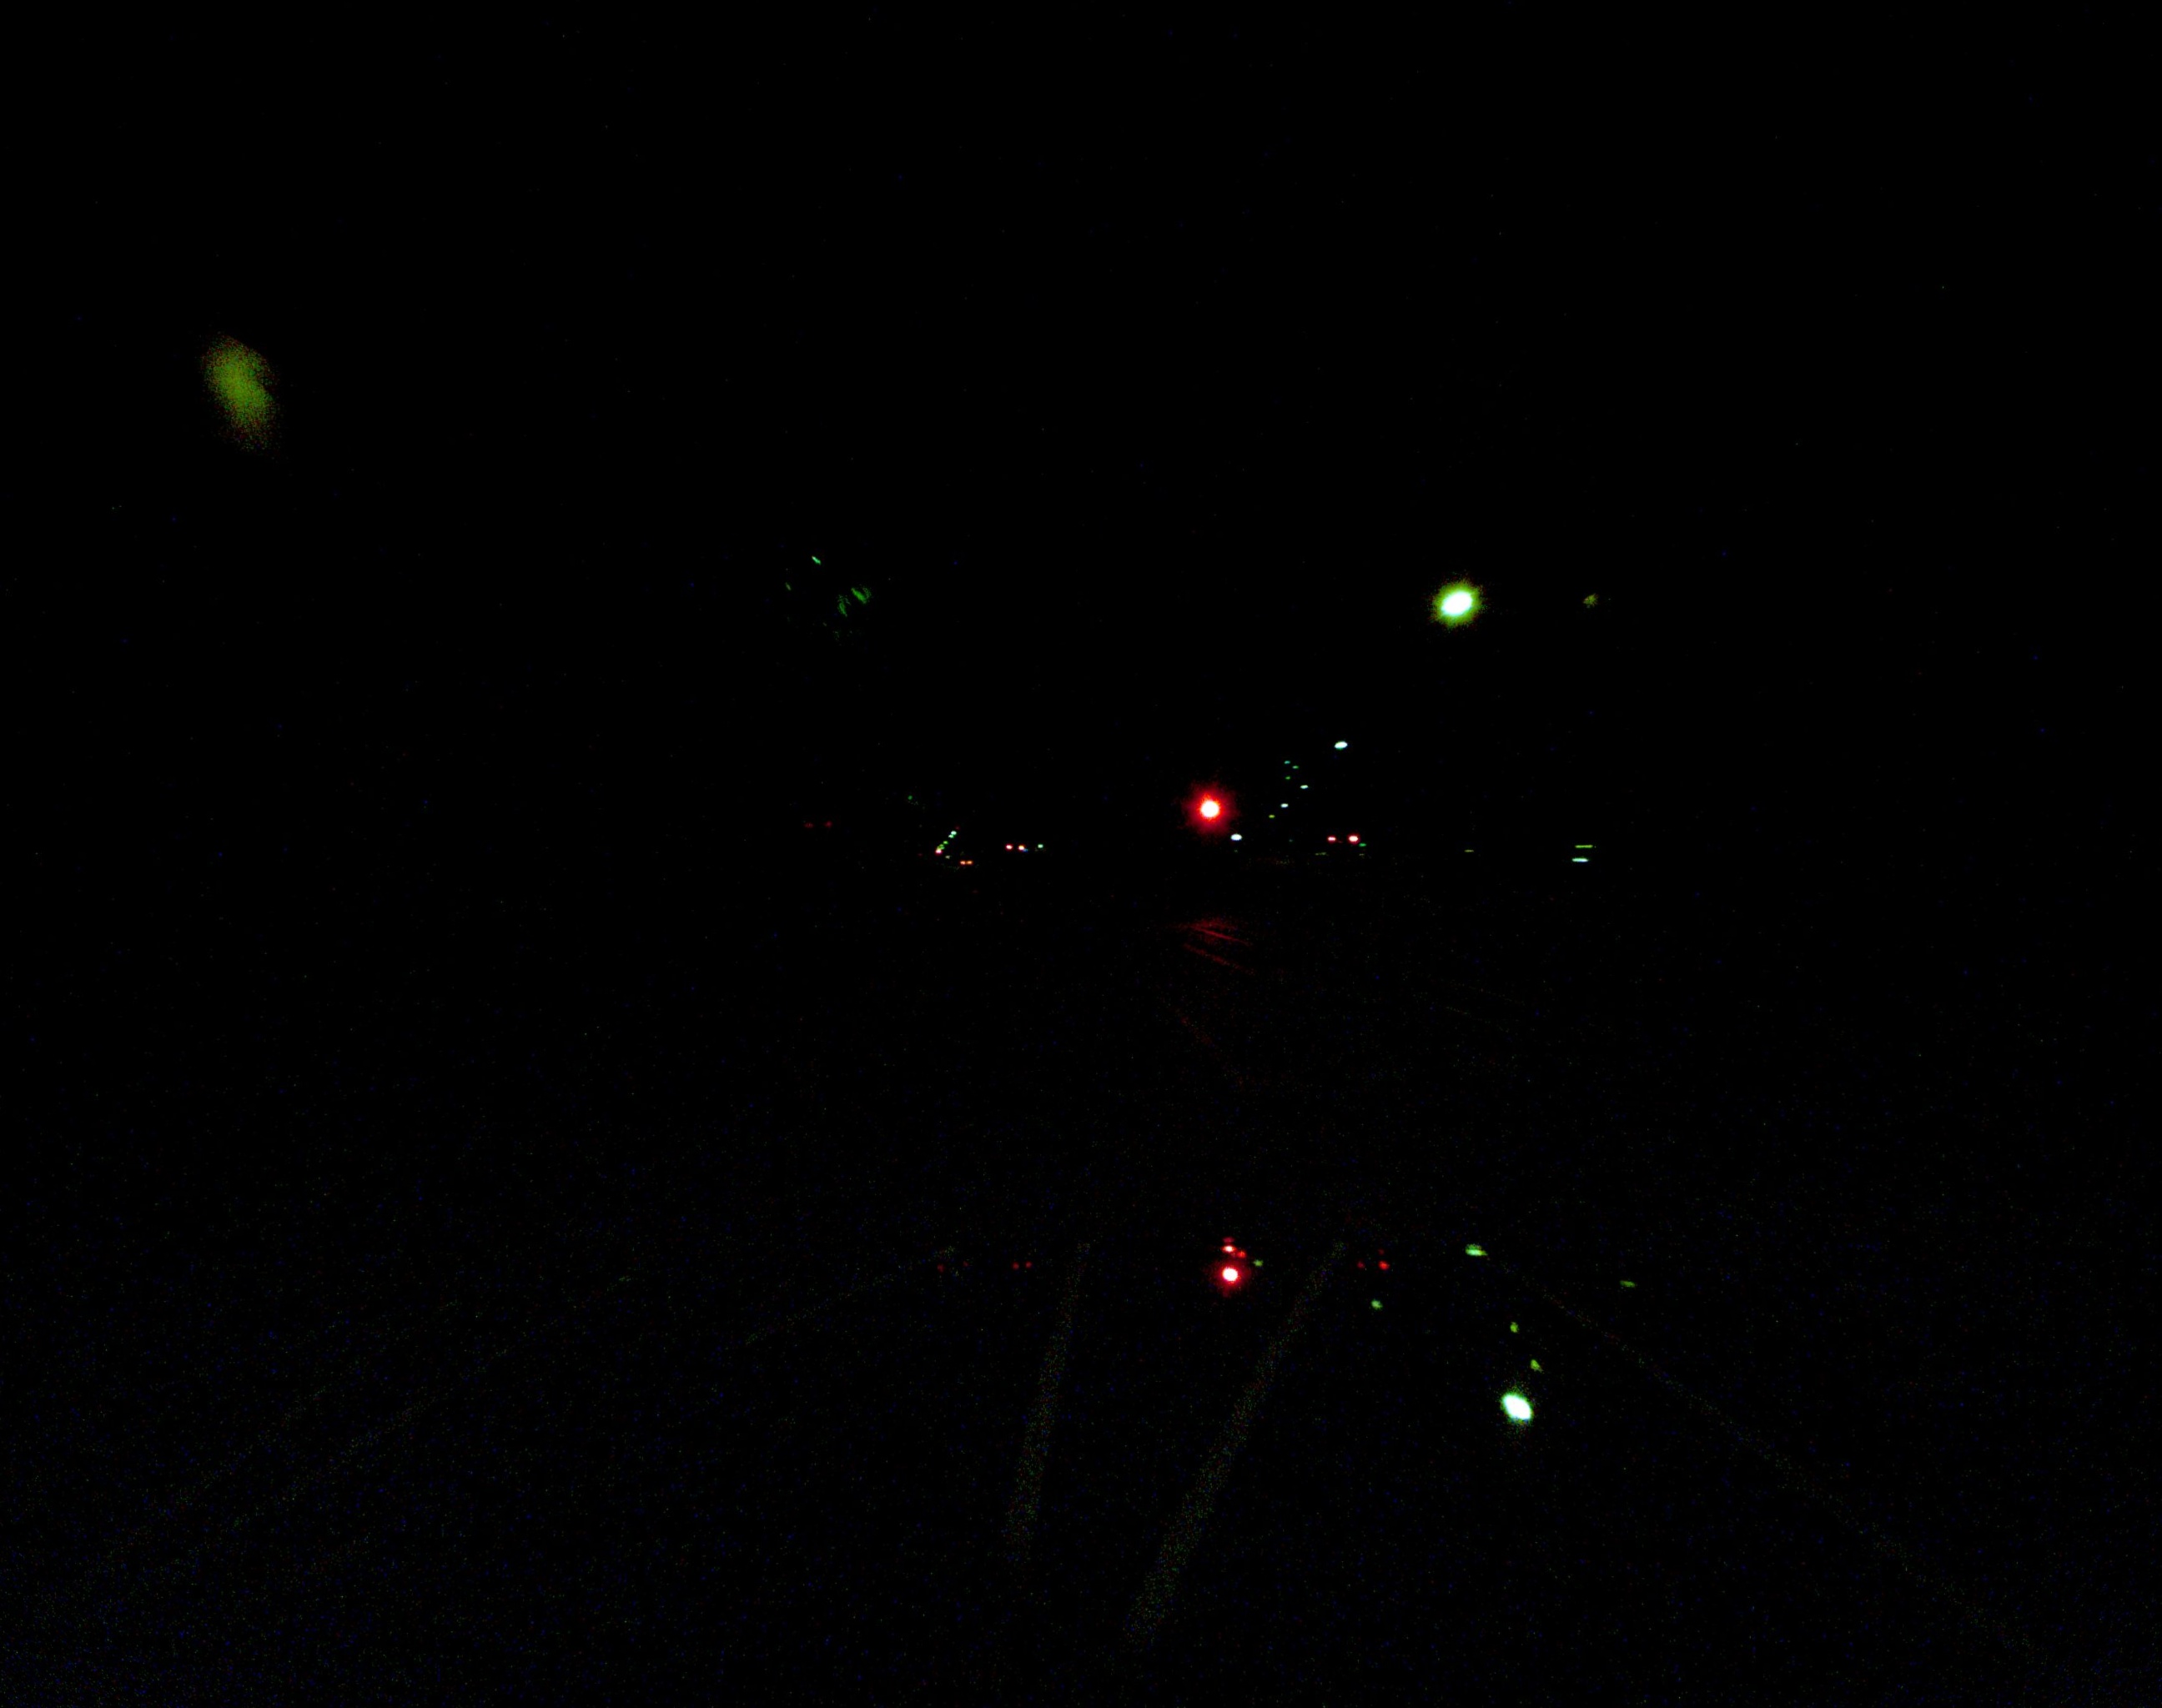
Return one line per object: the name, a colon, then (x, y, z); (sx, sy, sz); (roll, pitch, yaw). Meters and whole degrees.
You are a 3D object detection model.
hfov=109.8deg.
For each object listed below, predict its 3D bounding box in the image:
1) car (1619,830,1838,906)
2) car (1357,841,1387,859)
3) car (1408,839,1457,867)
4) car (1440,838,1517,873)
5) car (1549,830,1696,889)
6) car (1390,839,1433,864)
car: (14.377, 0.270, 17.267); (1.864, 1.425, 4.447); (-3, 0, 12)
car: (24.548, -0.304, 64.279); (1.631, 1.455, 3.517); (-1, 0, 8)
car: (19.929, -0.069, 43.255); (1.554, 1.425, 4.352); (-4, 0, 12)
car: (18.266, 0.055, 35.172); (1.864, 1.425, 4.407); (-2, 0, 10)
car: (15.562, 0.142, 22.158); (1.864, 1.470, 4.477); (-2, 0, 12)
car: (20.917, -0.154, 48.206); (1.641, 1.425, 4.354); (-4, 0, 12)
